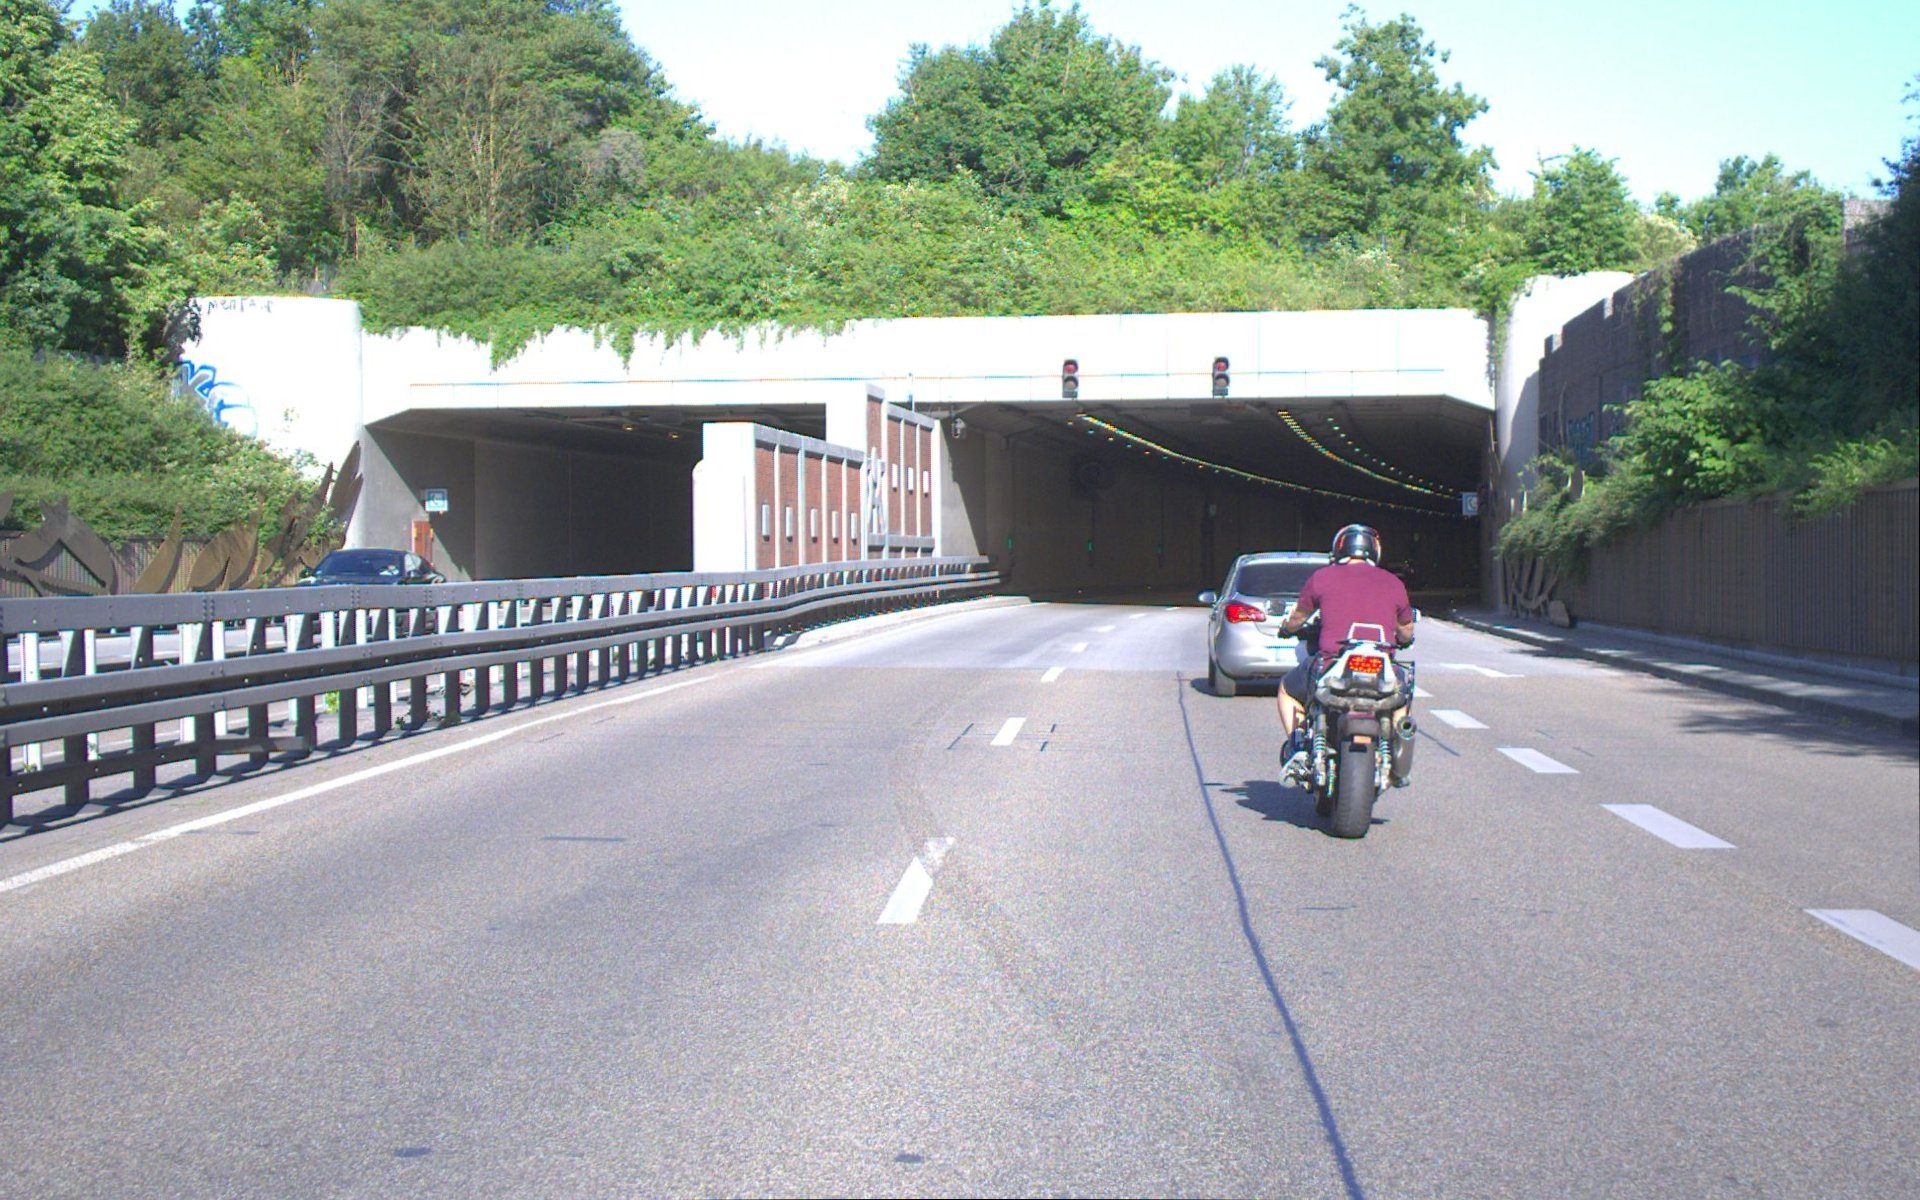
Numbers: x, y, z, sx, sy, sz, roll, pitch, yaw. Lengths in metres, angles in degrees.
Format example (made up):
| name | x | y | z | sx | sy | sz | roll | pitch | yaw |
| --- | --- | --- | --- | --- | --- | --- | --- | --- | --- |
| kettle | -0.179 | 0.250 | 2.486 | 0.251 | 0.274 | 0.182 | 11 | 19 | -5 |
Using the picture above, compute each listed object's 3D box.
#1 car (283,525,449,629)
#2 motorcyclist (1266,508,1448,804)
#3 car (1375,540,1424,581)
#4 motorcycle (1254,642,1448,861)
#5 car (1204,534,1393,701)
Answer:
| name | x | y | z | sx | sy | sz | roll | pitch | yaw |
| --- | --- | --- | --- | --- | --- | --- | --- | --- | --- |
| car | -10.382 | -0.444 | 60.430 | 1.667 | 1.669 | 4.862 | 1 | 2 | 5 |
| motorcyclist | 2.115 | 0.272 | 18.213 | 0.883 | 1.496 | 1.063 | 1 | 2 | 9 |
| car | 21.113 | -1.900 | 165.102 | 1.994 | 1.919 | 3.998 | 0 | 2 | 12 |
| motorcycle | 2.108 | 0.758 | 18.199 | 0.859 | 0.988 | 2.727 | 1 | 1 | 10 |
| car | 3.474 | 0.137 | 35.829 | 1.667 | 1.546 | 4.000 | 1 | 2 | 2 |
